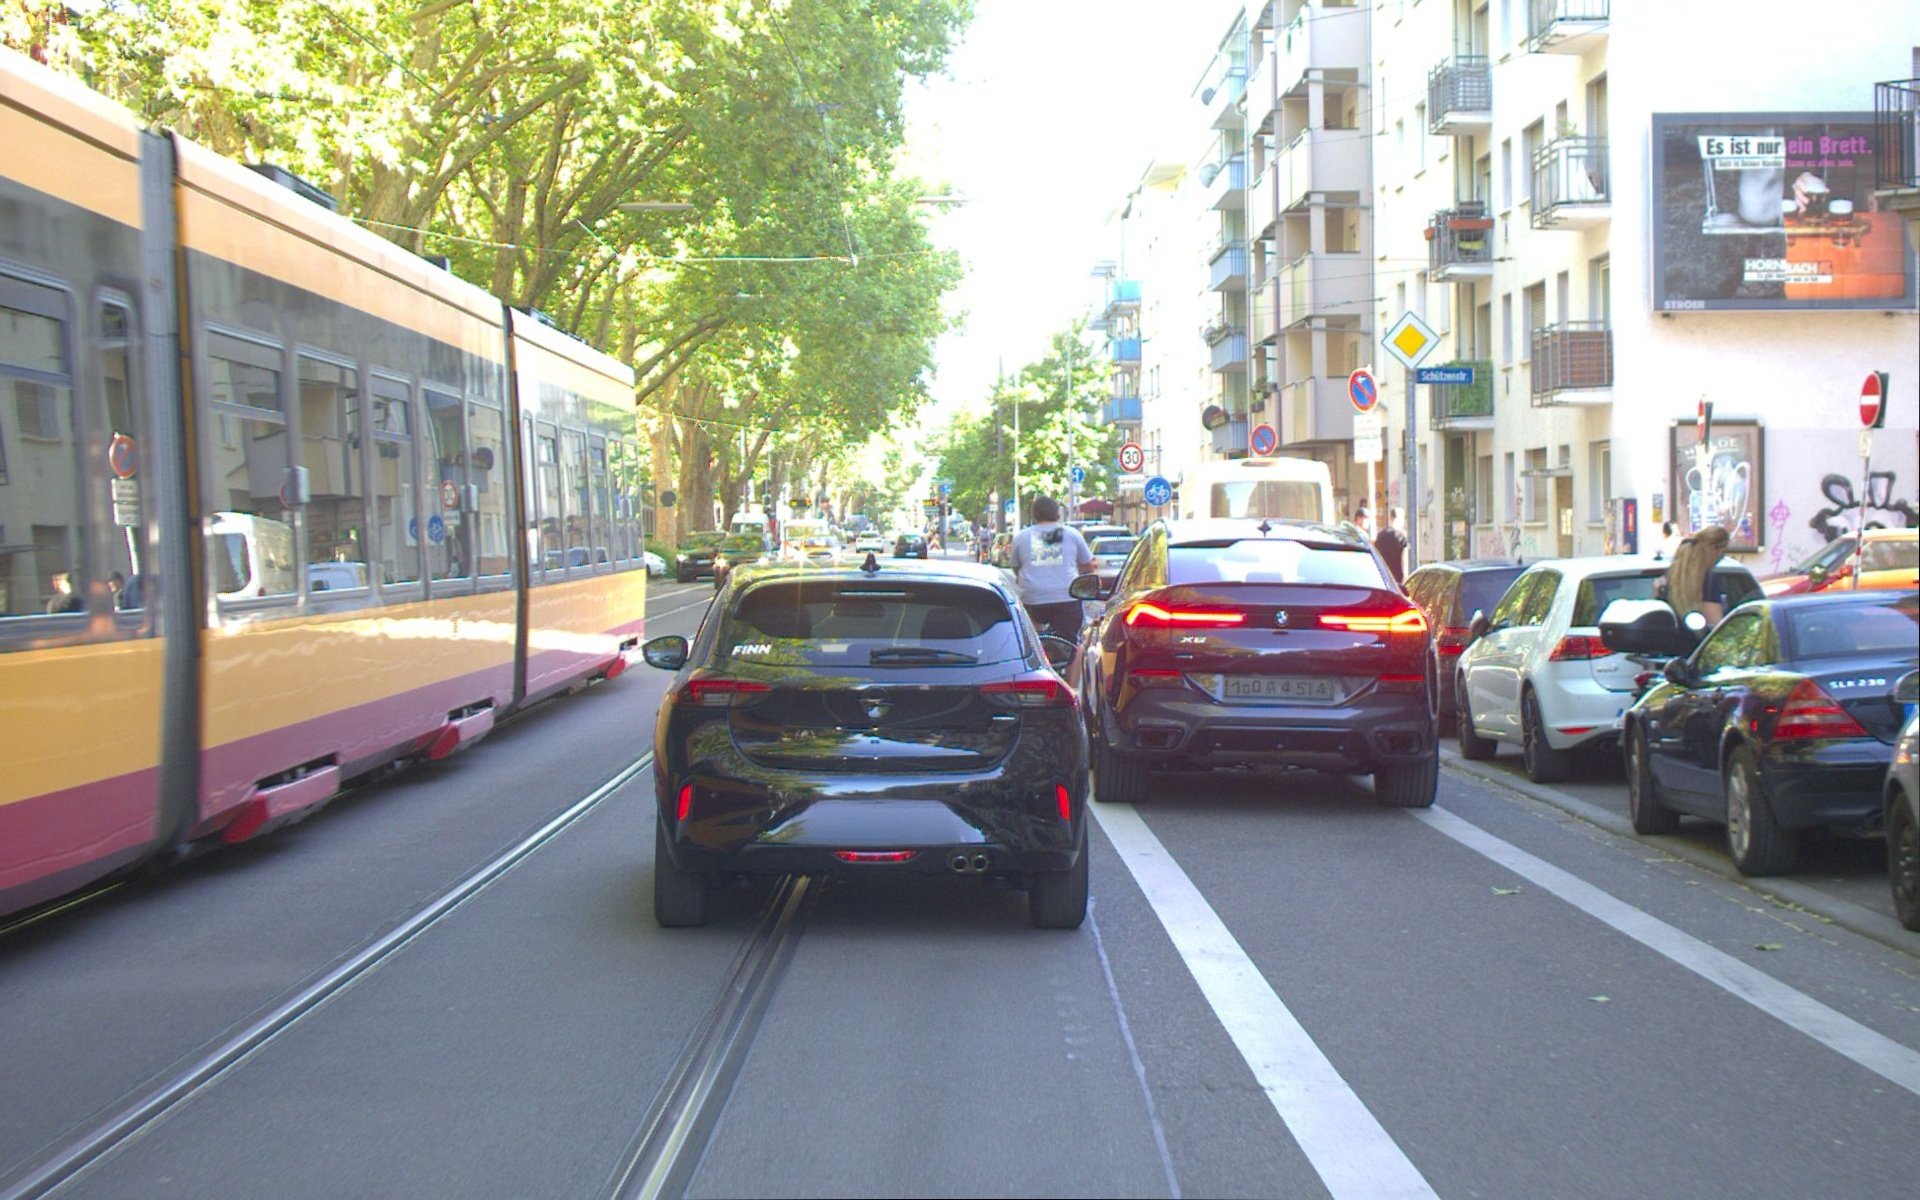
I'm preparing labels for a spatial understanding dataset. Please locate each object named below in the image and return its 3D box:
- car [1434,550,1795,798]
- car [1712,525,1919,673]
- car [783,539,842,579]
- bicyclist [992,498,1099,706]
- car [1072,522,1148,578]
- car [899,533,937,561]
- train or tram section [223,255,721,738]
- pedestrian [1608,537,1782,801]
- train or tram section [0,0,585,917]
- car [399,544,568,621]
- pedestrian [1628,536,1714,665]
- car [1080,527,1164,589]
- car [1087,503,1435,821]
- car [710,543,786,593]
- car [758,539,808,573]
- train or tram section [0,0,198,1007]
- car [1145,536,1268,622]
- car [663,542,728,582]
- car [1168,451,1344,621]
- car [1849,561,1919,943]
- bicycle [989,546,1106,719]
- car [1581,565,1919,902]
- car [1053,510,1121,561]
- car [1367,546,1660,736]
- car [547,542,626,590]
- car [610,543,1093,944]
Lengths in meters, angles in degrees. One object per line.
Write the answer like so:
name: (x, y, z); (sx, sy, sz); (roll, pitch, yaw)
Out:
car: (4.325, 0.432, 23.257); (1.661, 1.415, 3.933); (-4, 1, 1)
car: (11.727, -0.023, 42.614); (4.377, 1.792, 1.876); (0, 1, -1)
car: (-5.347, -1.502, 125.019); (1.810, 1.333, 3.933); (-4, 1, 1)
bicyclist: (0.716, 0.008, 29.196); (0.848, 1.734, 1.162); (0, 1, -1)
car: (3.934, -1.337, 90.854); (1.810, 1.333, 3.933); (-4, 1, 1)
car: (-2.066, -2.609, 169.176); (1.810, 1.333, 3.933); (0, 1, -1)
train or tram section: (-4.194, -0.907, 32.811); (2.735, 3.669, 12.717); (-1, 1, 1)
pedestrian: (4.432, 0.400, 20.778); (0.765, 1.561, 0.869); (0, 1, -8)
train or tram section: (-4.359, -0.675, 20.060); (2.735, 3.669, 12.717); (-1, 1, 1)
car: (-11.610, -0.433, 83.990); (3.919, 1.784, 1.677); (1, 1, -3)
pedestrian: (8.680, -0.005, 41.981); (0.866, 1.561, 0.768); (0, 1, -2)
car: (3.837, -1.012, 82.003); (1.810, 1.333, 3.933); (-4, 1, 1)
car: (1.745, 0.308, 21.077); (1.810, 1.736, 3.933); (1, 1, 1)
car: (-5.837, -0.900, 95.014); (1.810, 1.333, 3.933); (0, 1, 1)
car: (-7.478, -1.877, 145.564); (1.810, 1.333, 3.933); (-4, 1, 1)
train or tram section: (-4.509, -0.443, 7.331); (2.735, 3.669, 12.717); (-1, 1, 1)
car: (4.221, -0.386, 59.297); (1.810, 1.333, 3.933); (-4, 1, 1)
car: (-8.860, -1.293, 115.429); (1.810, 1.333, 3.933); (0, 1, 1)
car: (4.227, -0.930, 49.863); (2.075, 2.211, 4.933); (-4, 1, 1)
car: (4.464, 0.566, 12.283); (1.705, 1.451, 3.697); (-4, 1, 3)
bicycle: (0.721, 0.245, 29.167); (0.860, 1.402, 2.524); (0, 1, -1)
car: (4.348, 0.567, 17.032); (1.810, 1.333, 3.933); (-4, 1, 1)
car: (3.689, -1.875, 100.194); (1.810, 1.333, 3.933); (-4, 1, 1)
car: (4.581, 0.293, 28.960); (1.810, 1.375, 3.933); (-4, 1, 1)
car: (-10.824, -0.996, 99.752); (1.810, 1.333, 3.933); (0, 1, 1)
car: (-0.423, 0.505, 14.544); (1.794, 1.436, 3.531); (0, 2, -1)
